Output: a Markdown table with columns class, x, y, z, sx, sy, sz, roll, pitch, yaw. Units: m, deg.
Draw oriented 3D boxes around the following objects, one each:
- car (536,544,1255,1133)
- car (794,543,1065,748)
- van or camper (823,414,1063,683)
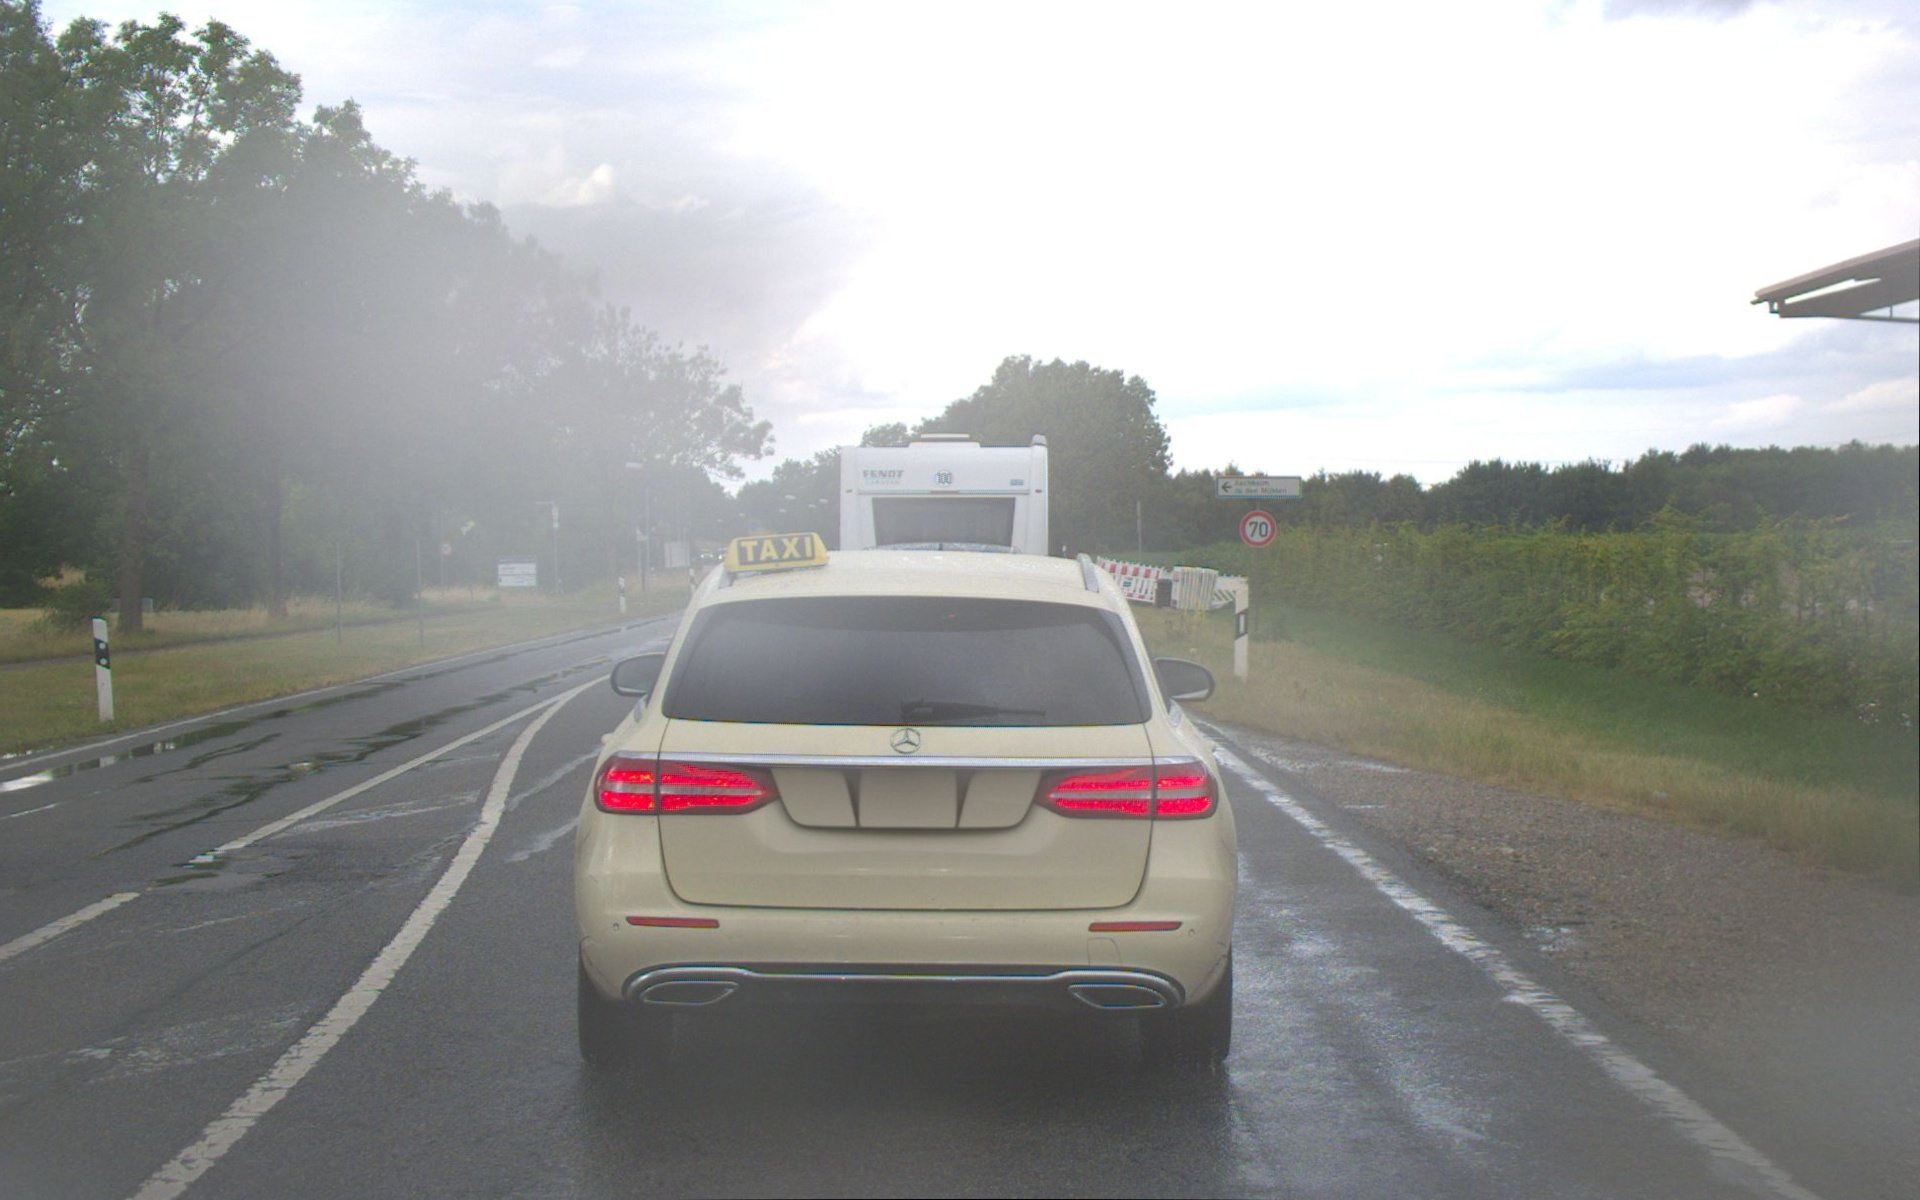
| class | x | y | z | sx | sy | sz | roll | pitch | yaw |
| --- | --- | --- | --- | --- | --- | --- | --- | --- | --- |
| car | -0.160 | 0.566 | 10.649 | 1.797 | 1.459 | 4.031 | 0 | 1 | 0 |
| car | -0.229 | 0.286 | 26.050 | 1.894 | 1.424 | 3.928 | 0 | 1 | 0 |
| van or camper | -0.153 | -0.602 | 39.939 | 2.497 | 2.821 | 5.934 | -2 | 1 | 1 |
